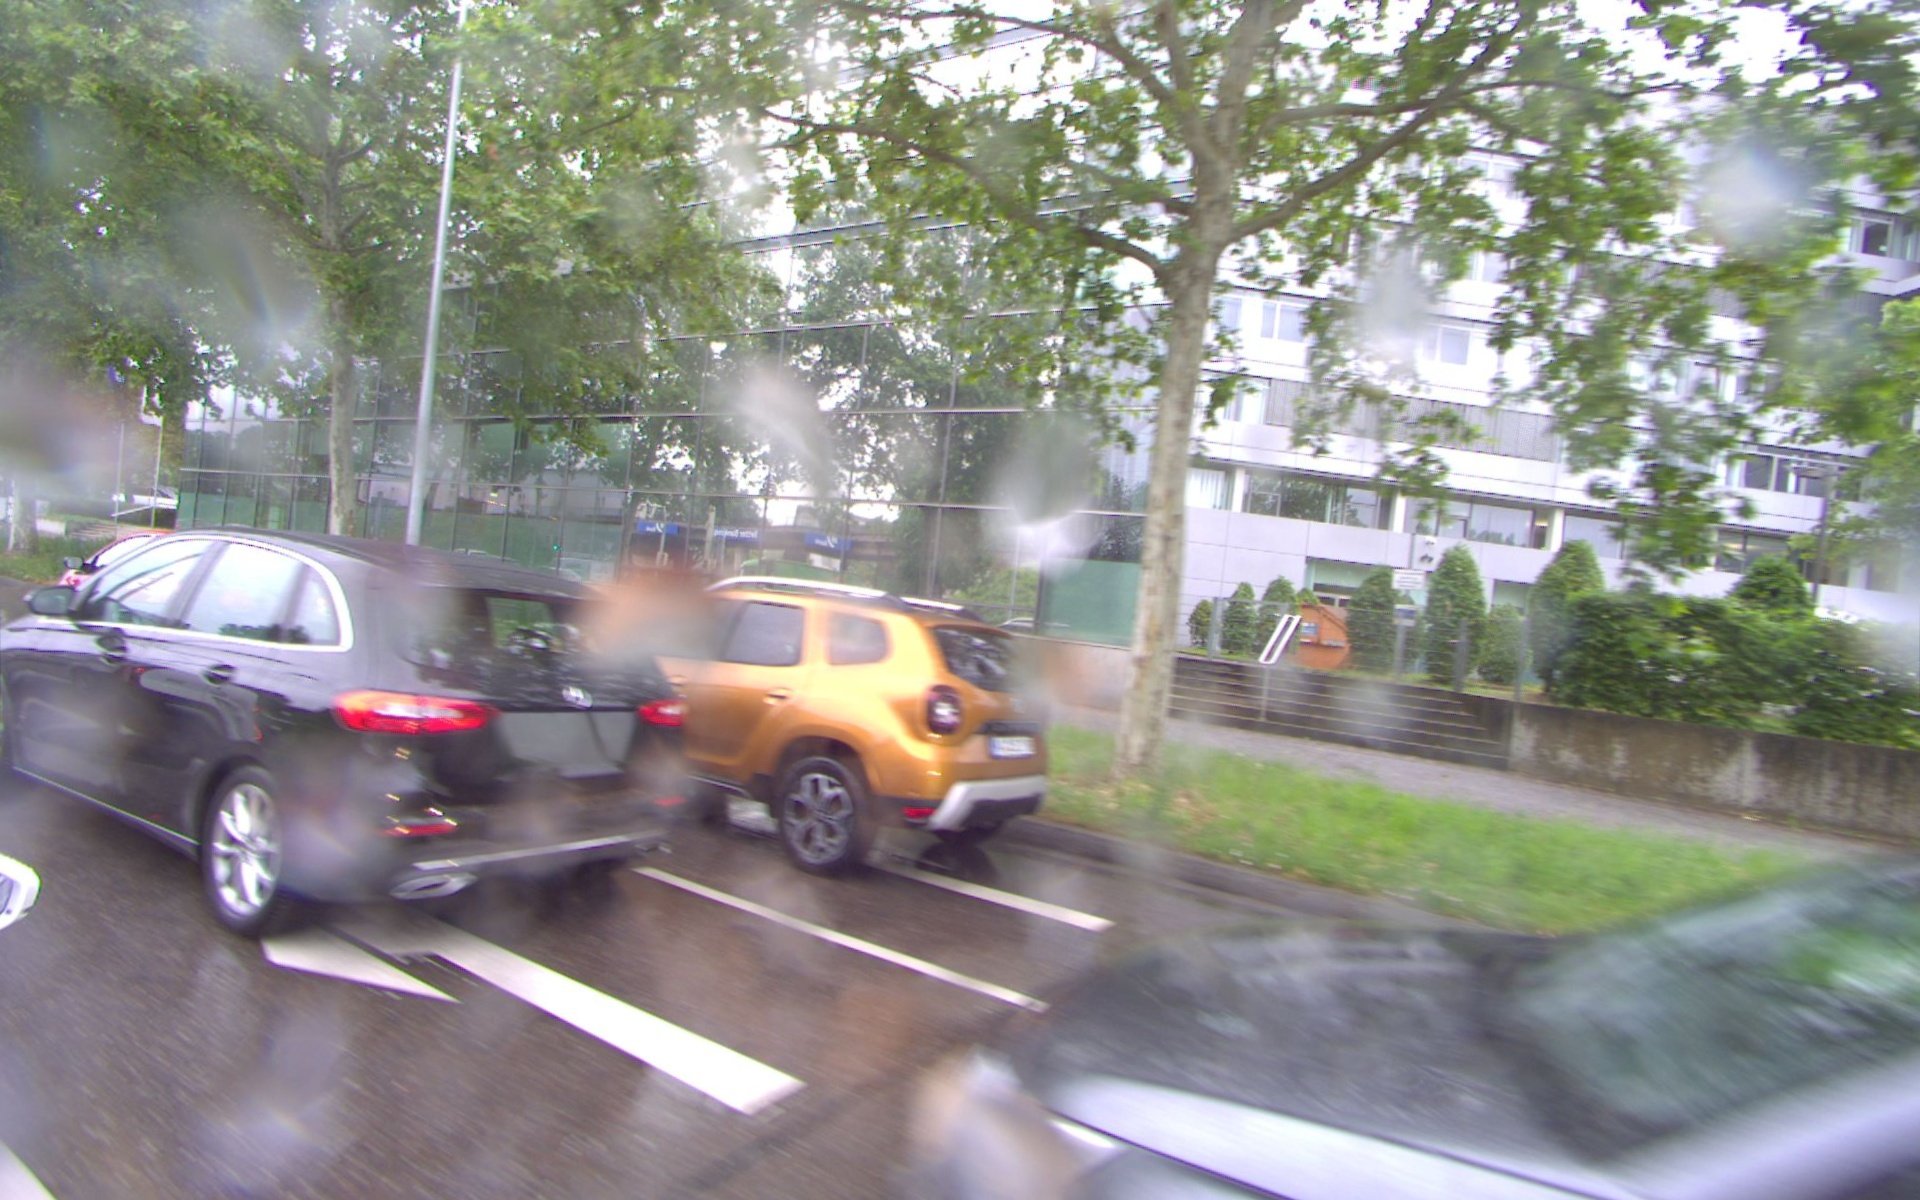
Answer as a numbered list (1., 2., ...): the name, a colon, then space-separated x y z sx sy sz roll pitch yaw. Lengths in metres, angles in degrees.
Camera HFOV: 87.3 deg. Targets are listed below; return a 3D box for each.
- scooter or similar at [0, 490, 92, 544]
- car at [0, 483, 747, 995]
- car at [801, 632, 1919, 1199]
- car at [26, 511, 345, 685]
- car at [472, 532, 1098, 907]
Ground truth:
1. scooter or similar: -53.393 -4.862 57.547 5.227 2.475 1.893 7 0 -9
2. car: -3.258 0.406 5.095 4.022 1.573 1.751 6 -1 31
3. car: 1.758 1.021 1.456 3.718 1.445 1.679 6 -1 32
4. car: -8.622 -0.038 11.163 3.332 1.480 1.572 6 -1 31
5. car: -1.339 0.648 7.080 4.079 1.704 1.679 7 -2 32
